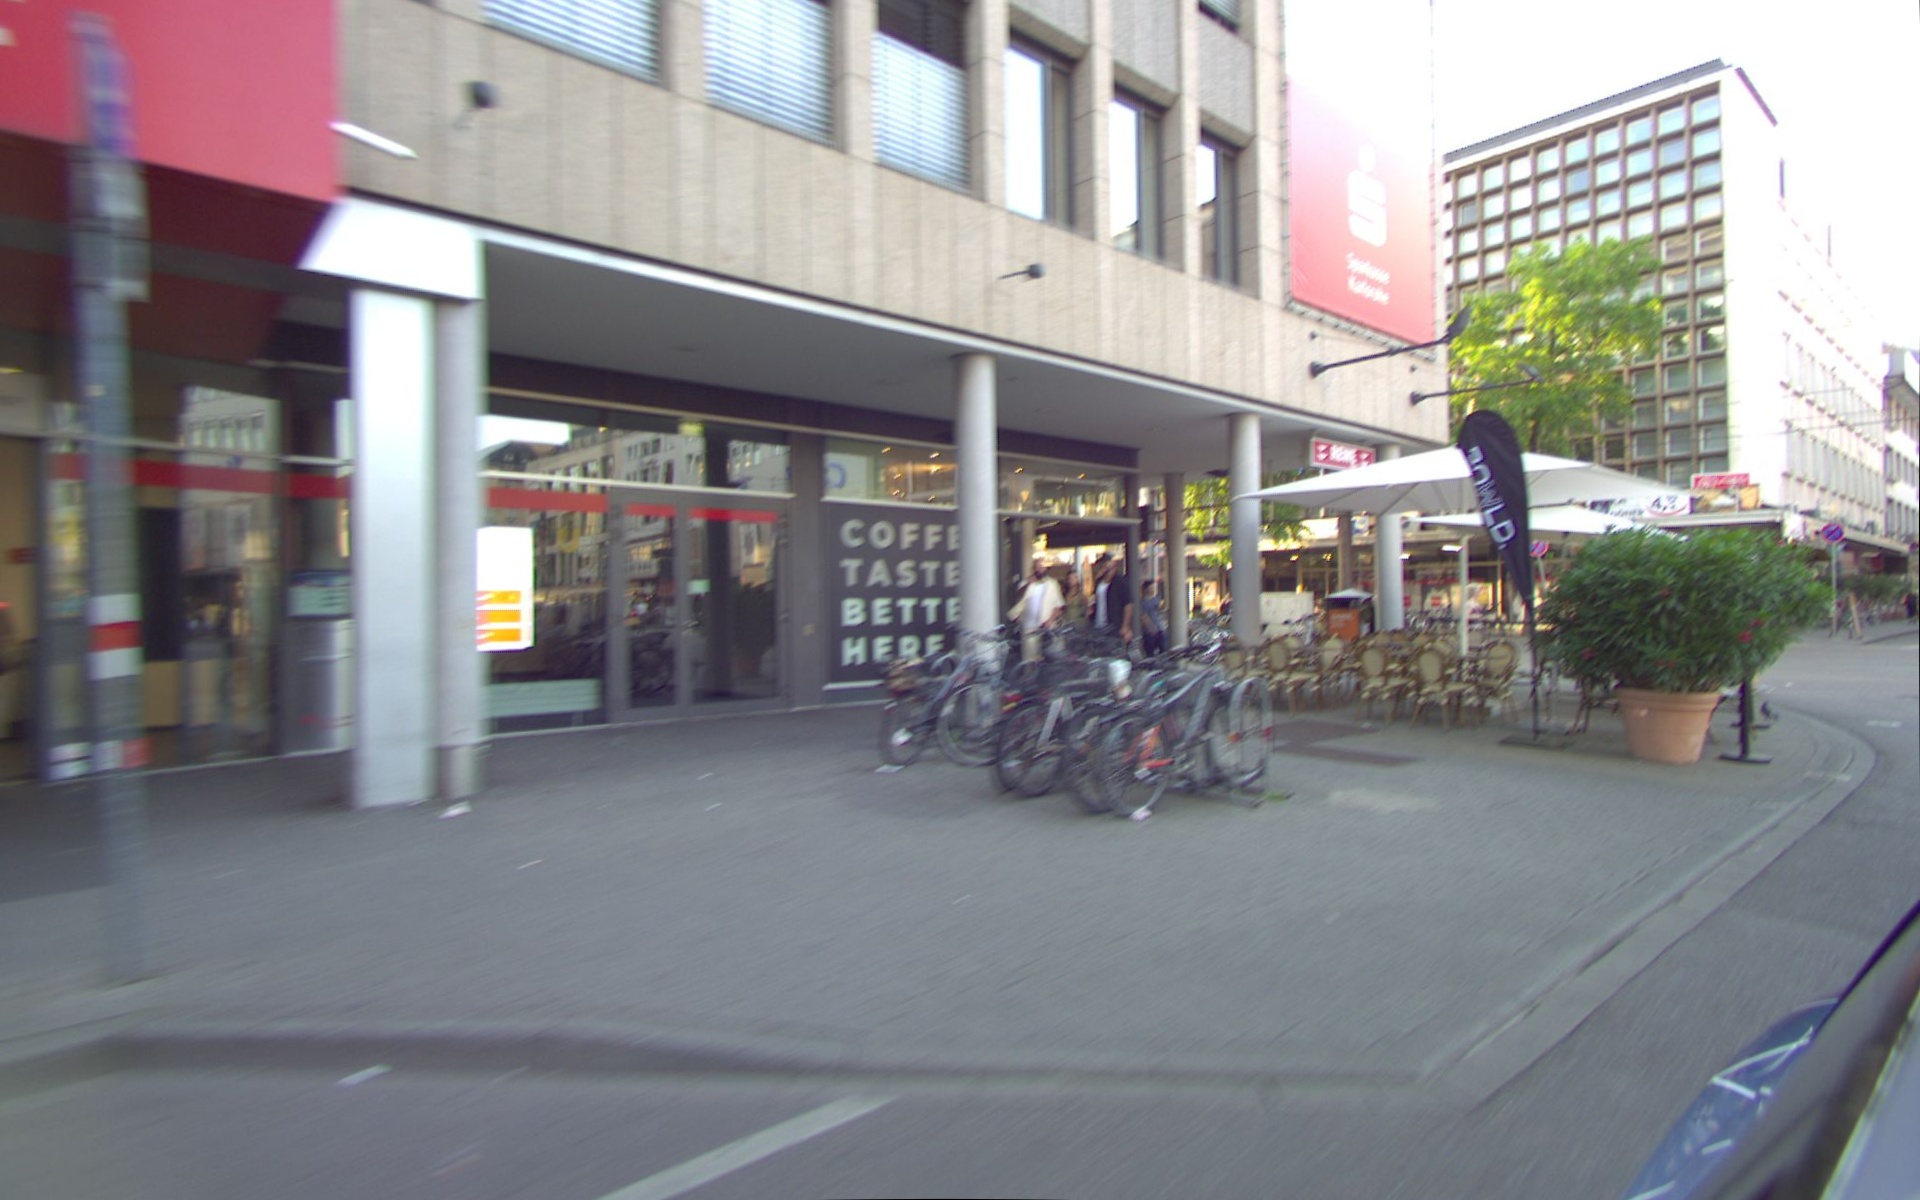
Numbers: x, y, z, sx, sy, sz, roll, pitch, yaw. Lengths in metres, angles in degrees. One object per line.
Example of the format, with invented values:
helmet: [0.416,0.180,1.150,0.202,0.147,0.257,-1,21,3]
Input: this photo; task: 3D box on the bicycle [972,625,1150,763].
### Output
bicycle: [0.920,0.766,8.805,1.831,1.046,0.383,-1,0,-40]

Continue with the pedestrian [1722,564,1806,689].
pedestrian: [11.507,0.360,14.493,0.755,1.710,0.795,0,0,-39]

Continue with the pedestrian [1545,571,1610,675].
pedestrian: [10.446,0.368,17.140,0.786,1.710,0.764,0,0,20]

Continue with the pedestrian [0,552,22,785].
pedestrian: [-7.371,0.506,7.346,0.687,1.682,0.720,-2,-1,38]

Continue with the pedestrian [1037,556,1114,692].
pedestrian: [1.575,0.312,13.860,0.676,1.784,0.798,0,0,-44]

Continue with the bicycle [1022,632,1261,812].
bicycle: [1.274,0.773,6.879,1.827,1.046,0.383,-1,0,-33]

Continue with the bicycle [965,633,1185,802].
bicycle: [0.877,0.793,7.351,1.829,1.046,0.383,-1,0,-37]

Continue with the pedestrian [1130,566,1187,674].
pedestrian: [3.364,0.329,17.194,0.784,1.784,0.688,0,0,-3]

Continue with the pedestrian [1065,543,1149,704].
pedestrian: [1.846,0.278,12.712,0.797,1.943,0.676,0,0,45]

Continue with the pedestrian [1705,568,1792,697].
pedestrian: [10.916,0.423,14.011,0.755,1.710,0.795,0,0,-39]

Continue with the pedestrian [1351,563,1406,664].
pedestrian: [7.281,0.227,17.592,0.789,1.710,0.761,0,0,30]

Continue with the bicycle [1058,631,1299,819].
bicycle: [1.461,0.752,6.582,1.827,1.046,0.330,-1,0,-33]

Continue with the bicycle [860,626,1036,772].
bicycle: [-0.050,0.772,8.500,0.381,1.046,1.837,0,0,39]

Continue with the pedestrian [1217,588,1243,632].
pedestrian: [10.581,0.374,39.676,0.636,1.681,0.652,1,3,-21]

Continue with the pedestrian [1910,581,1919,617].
pedestrian: [45.191,-0.040,47.576,0.639,1.682,0.649,-1,-1,-41]

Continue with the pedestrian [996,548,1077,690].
pedestrian: [0.999,0.234,13.223,0.676,1.784,0.798,0,0,-44]

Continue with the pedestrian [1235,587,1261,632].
pedestrian: [11.166,0.374,39.237,0.636,1.681,0.652,1,3,-20]

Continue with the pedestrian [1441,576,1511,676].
pedestrian: [8.449,0.405,16.574,0.756,1.585,0.795,0,0,-41]
